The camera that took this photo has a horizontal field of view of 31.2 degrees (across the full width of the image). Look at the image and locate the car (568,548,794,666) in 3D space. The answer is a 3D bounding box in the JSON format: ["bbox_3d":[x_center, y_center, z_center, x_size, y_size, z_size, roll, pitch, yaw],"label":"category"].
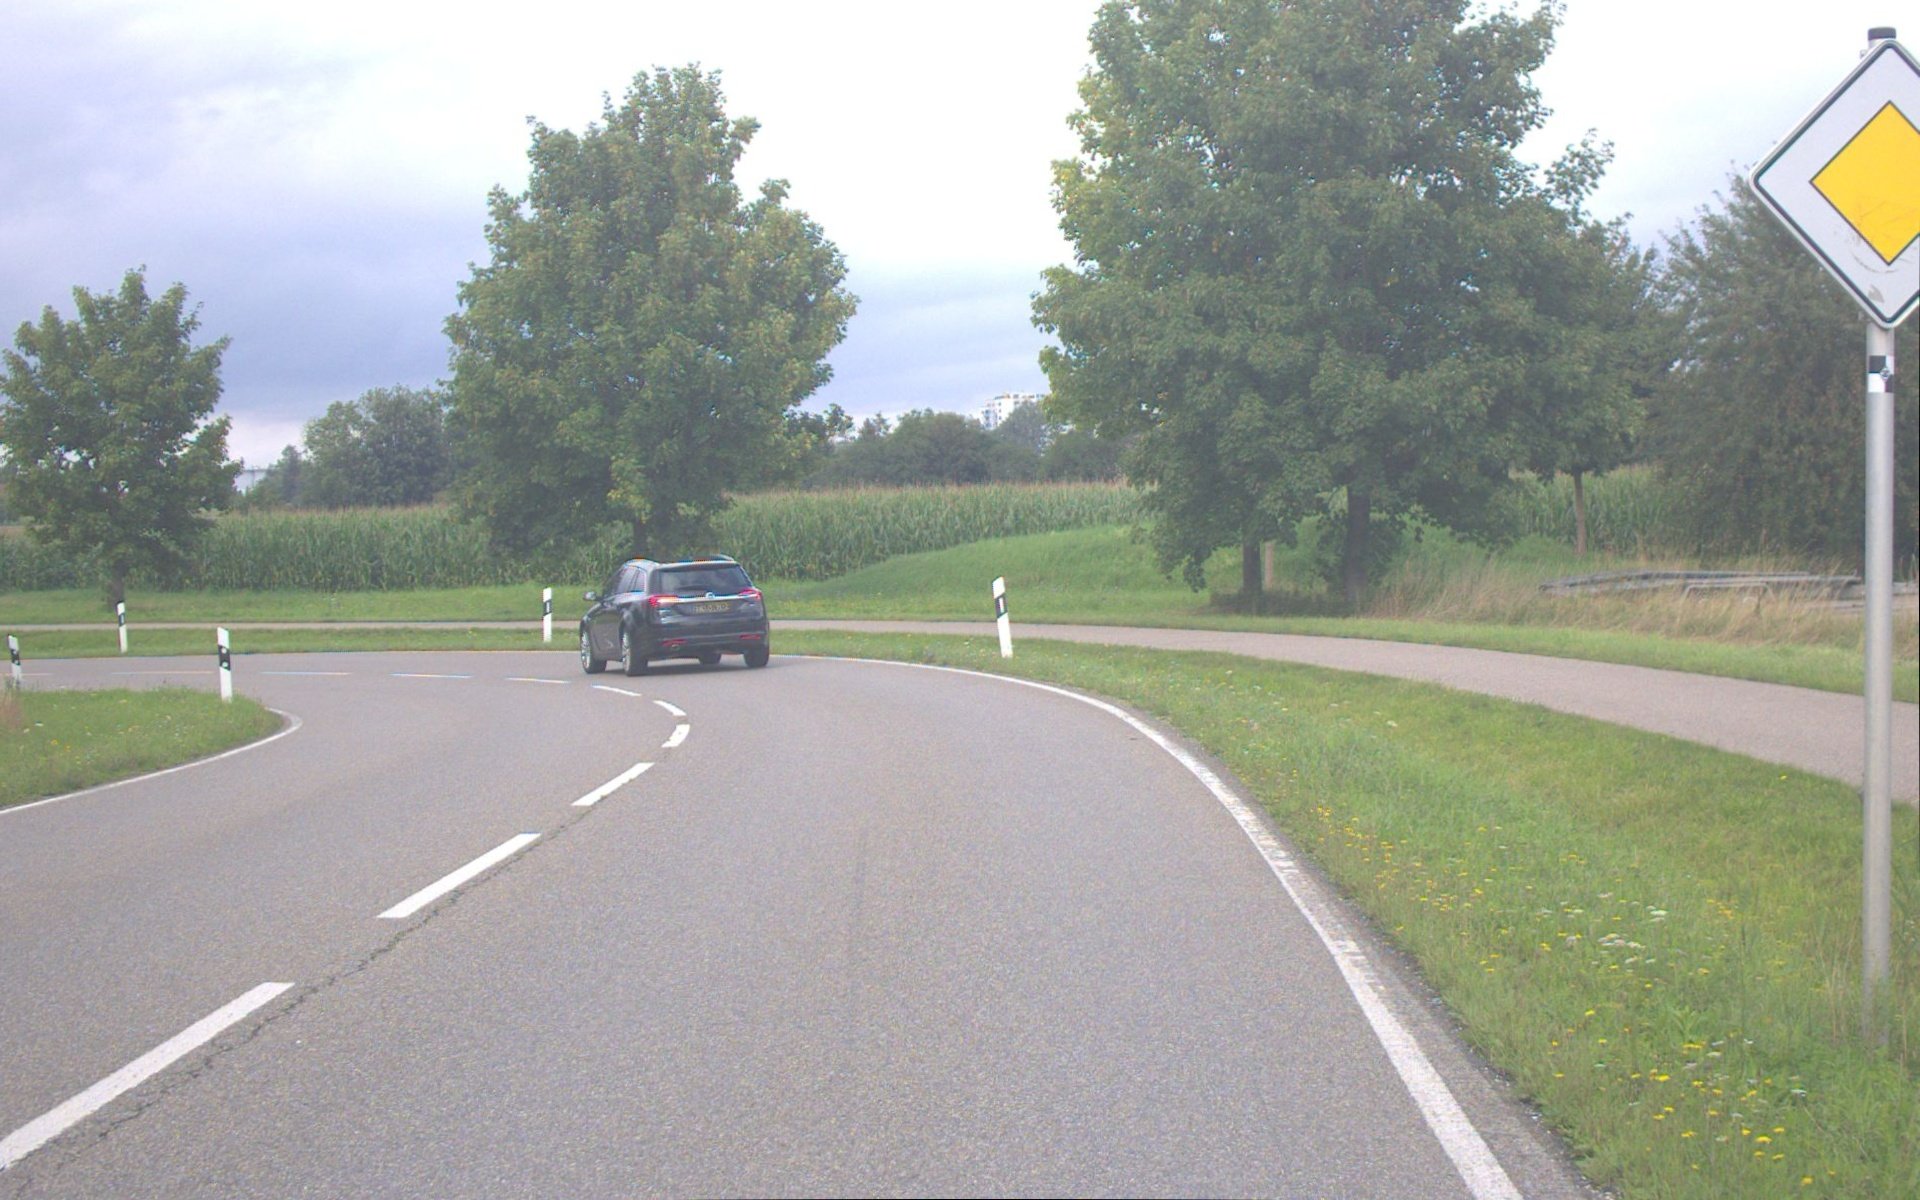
[{"bbox_3d":[-3.650,0.060,44.310,1.841,1.412,4.001,-2,1,-21],"label":"car"}]
